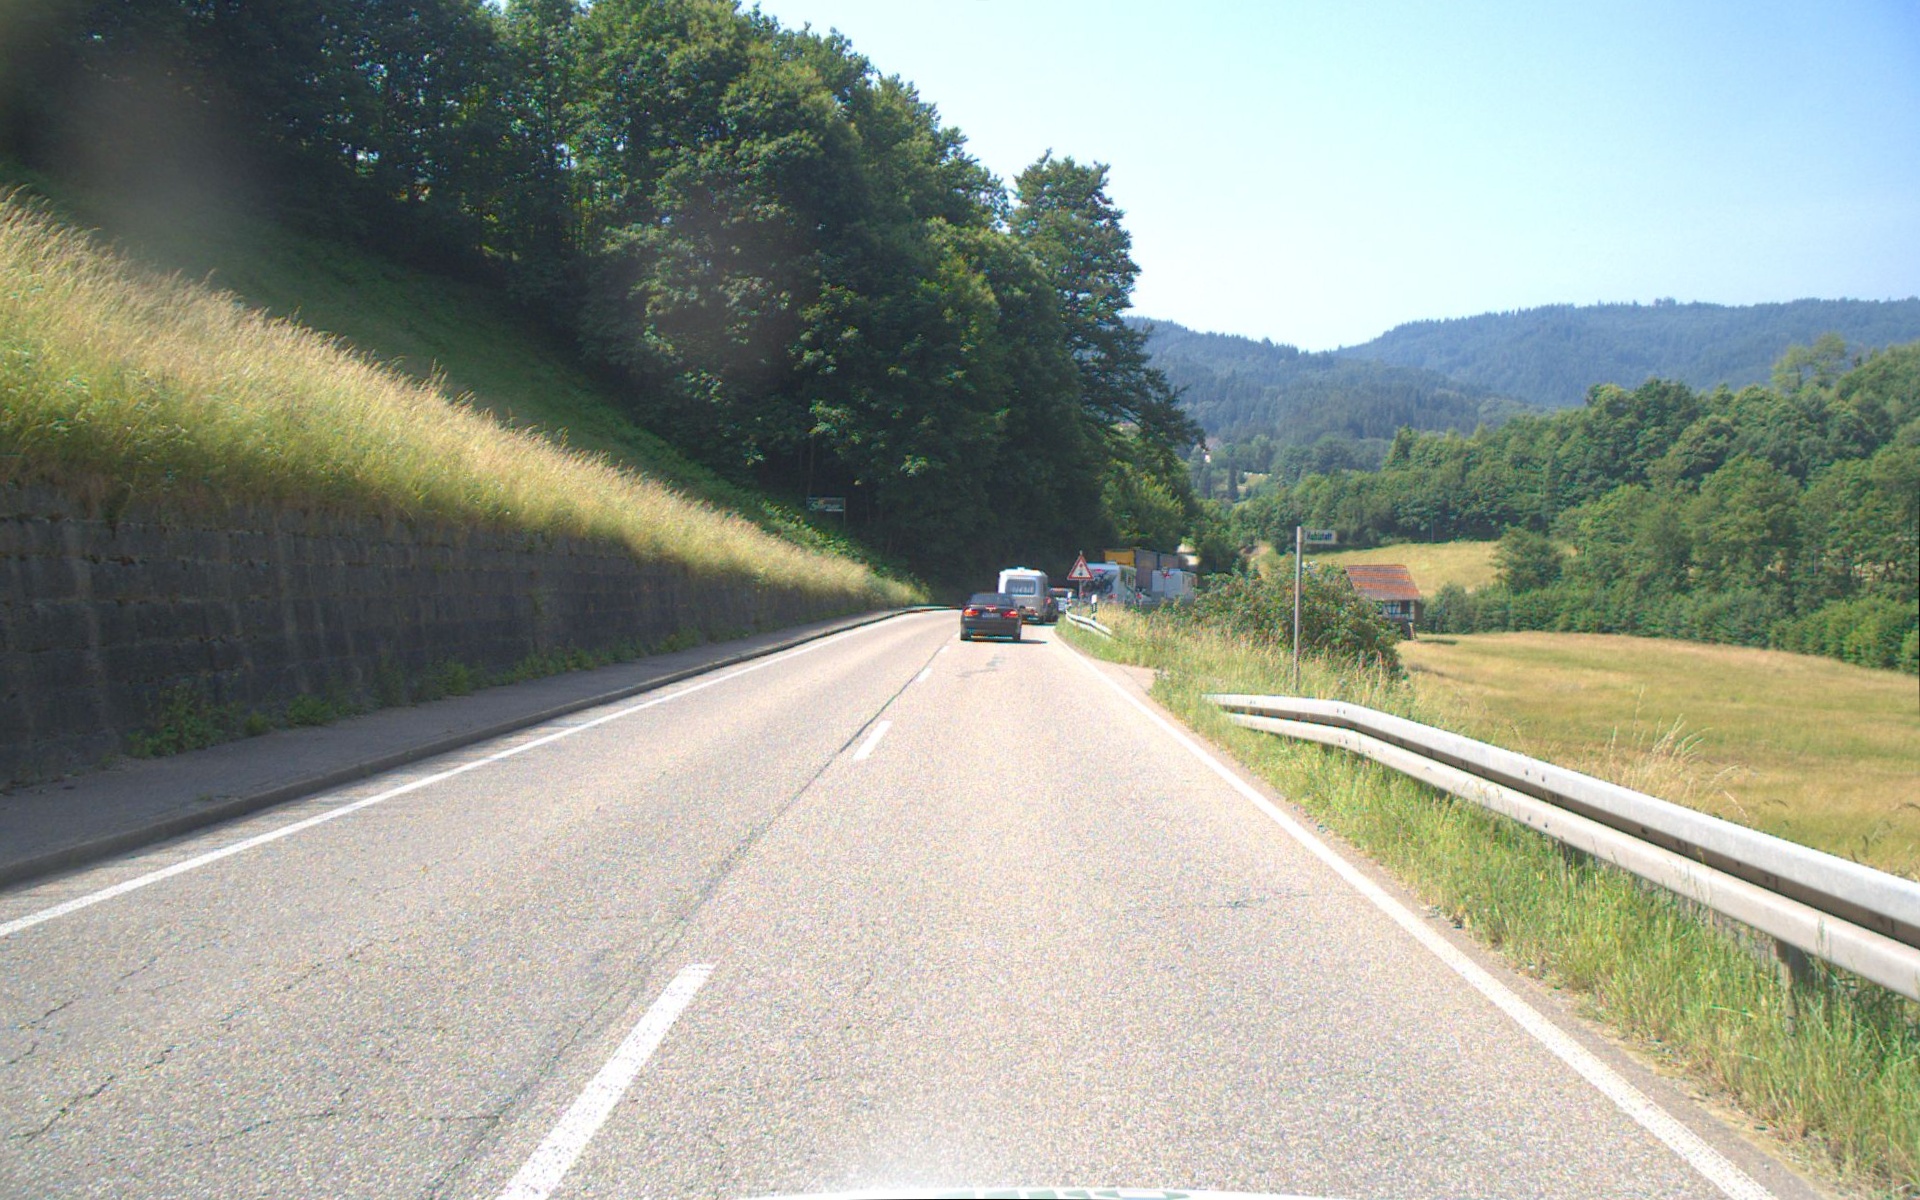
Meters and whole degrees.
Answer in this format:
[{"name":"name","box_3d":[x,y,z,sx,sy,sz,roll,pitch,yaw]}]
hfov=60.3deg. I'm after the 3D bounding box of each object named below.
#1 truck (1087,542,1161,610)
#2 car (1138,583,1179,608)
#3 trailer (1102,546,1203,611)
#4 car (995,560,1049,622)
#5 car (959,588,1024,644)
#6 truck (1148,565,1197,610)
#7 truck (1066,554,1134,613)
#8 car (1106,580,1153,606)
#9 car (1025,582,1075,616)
[{"name":"truck","box_3d":[11.617,-1.664,116.594,3.125,4.472,6.569,4,2,23]},{"name":"car","box_3d":[13.235,-0.305,109.999,1.751,1.489,4.001,5,2,20]},{"name":"trailer","box_3d":[14.587,-1.547,123.839,3.194,4.493,15.311,3,1,23]},{"name":"car","box_3d":[2.689,-0.428,70.358,1.952,2.393,4.918,3,2,5]},{"name":"car","box_3d":[0.908,0.430,47.396,1.735,1.358,3.768,2,2,1]},{"name":"truck","box_3d":[15.027,-0.851,116.563,2.191,2.852,6.235,3,0,18]},{"name":"truck","box_3d":[8.086,-0.965,94.954,2.732,3.049,6.874,4,2,13]},{"name":"car","box_3d":[10.576,-0.449,103.177,1.953,1.489,4.001,5,2,19]},{"name":"car","box_3d":[4.543,-0.054,82.830,1.951,1.509,4.004,4,1,10]}]
